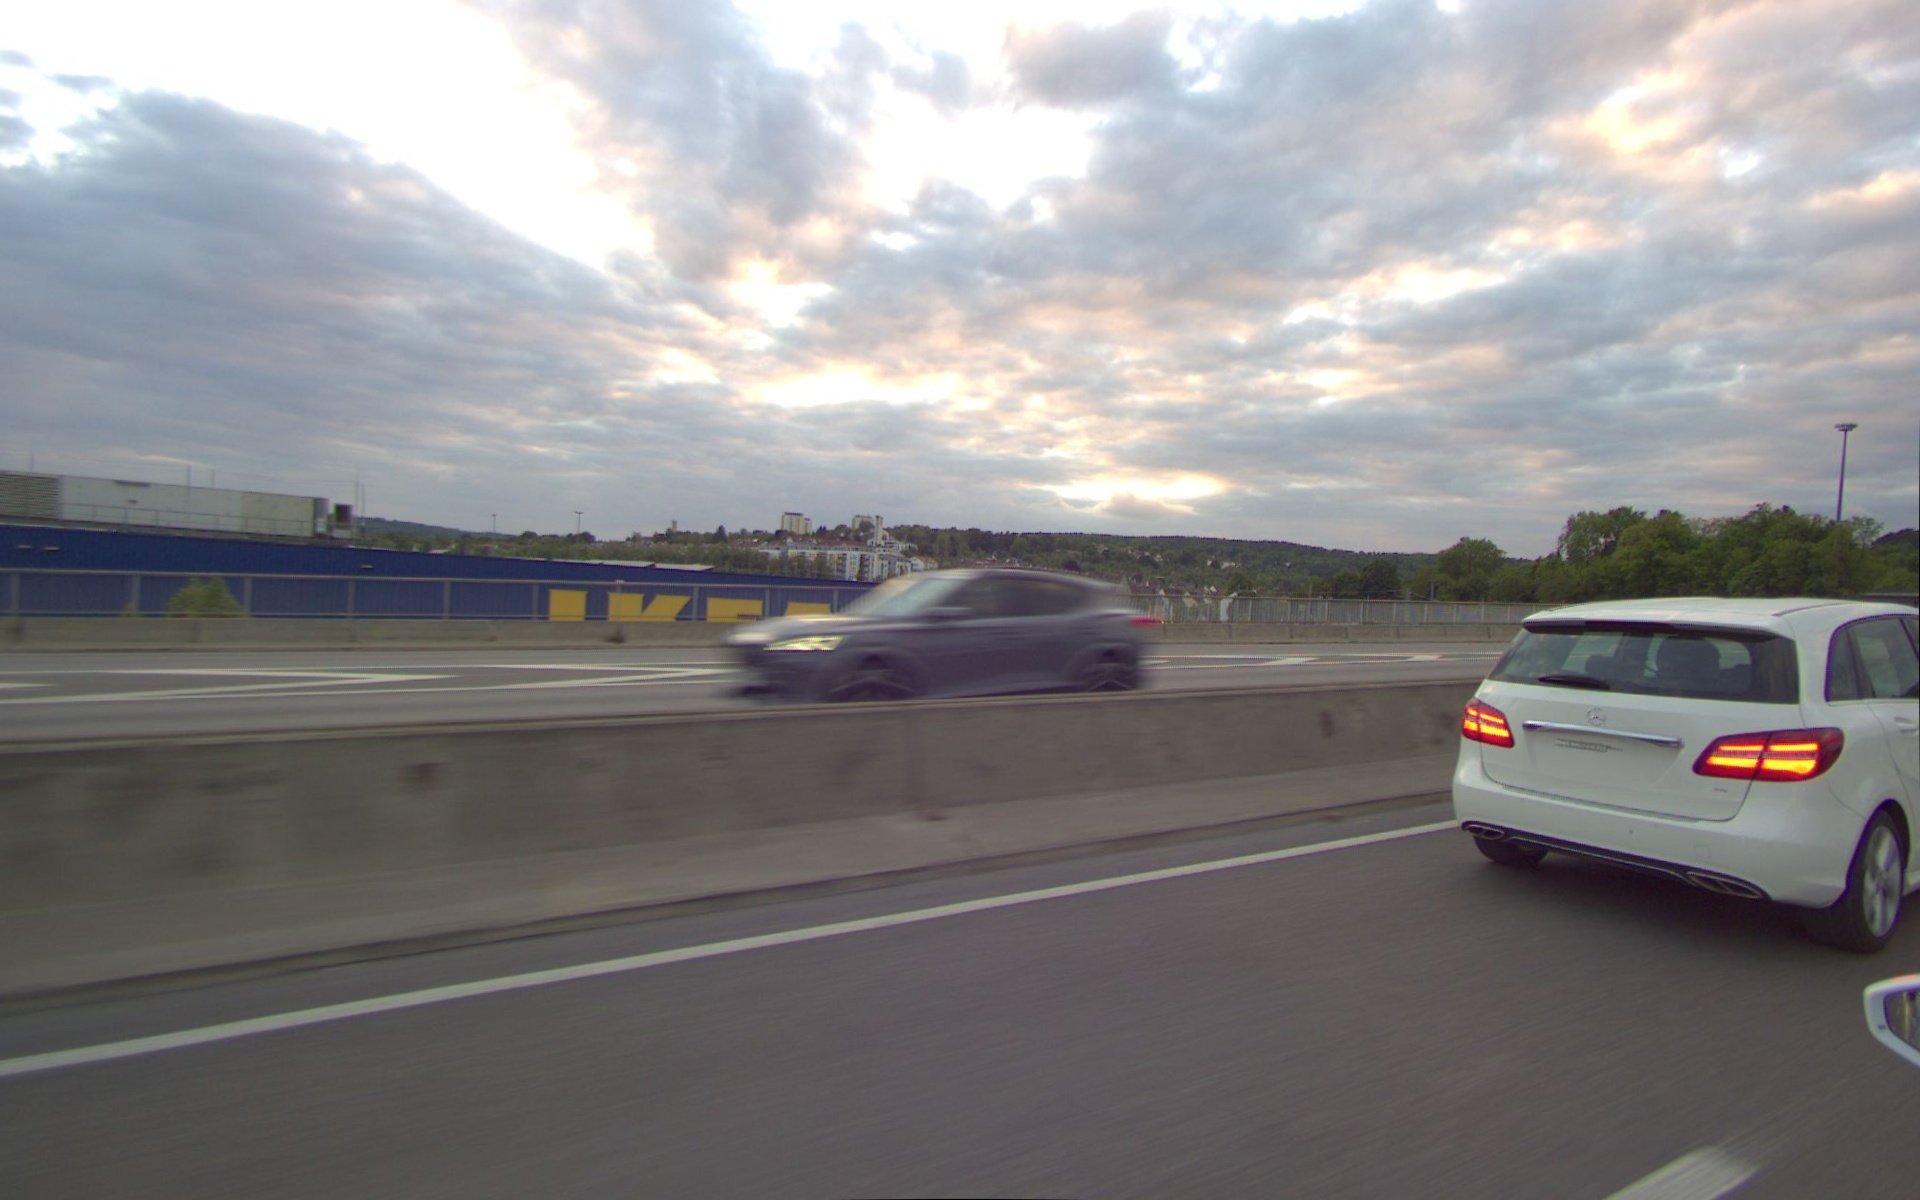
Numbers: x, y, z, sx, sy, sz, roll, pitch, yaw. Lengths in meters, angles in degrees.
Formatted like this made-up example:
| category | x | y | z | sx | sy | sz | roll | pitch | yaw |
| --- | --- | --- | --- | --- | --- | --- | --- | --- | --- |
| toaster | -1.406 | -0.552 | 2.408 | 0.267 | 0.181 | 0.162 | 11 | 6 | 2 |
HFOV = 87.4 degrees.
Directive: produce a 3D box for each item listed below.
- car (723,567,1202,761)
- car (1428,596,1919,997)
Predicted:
| category | x | y | z | sx | sy | sz | roll | pitch | yaw |
| --- | --- | --- | --- | --- | --- | --- | --- | --- | --- |
| car | 0.117 | 0.541 | 10.004 | 4.494 | 1.554 | 1.802 | 1 | 0 | -31 |
| car | 4.961 | 0.822 | 5.882 | 4.729 | 1.557 | 1.682 | 2 | 0 | -31 |
